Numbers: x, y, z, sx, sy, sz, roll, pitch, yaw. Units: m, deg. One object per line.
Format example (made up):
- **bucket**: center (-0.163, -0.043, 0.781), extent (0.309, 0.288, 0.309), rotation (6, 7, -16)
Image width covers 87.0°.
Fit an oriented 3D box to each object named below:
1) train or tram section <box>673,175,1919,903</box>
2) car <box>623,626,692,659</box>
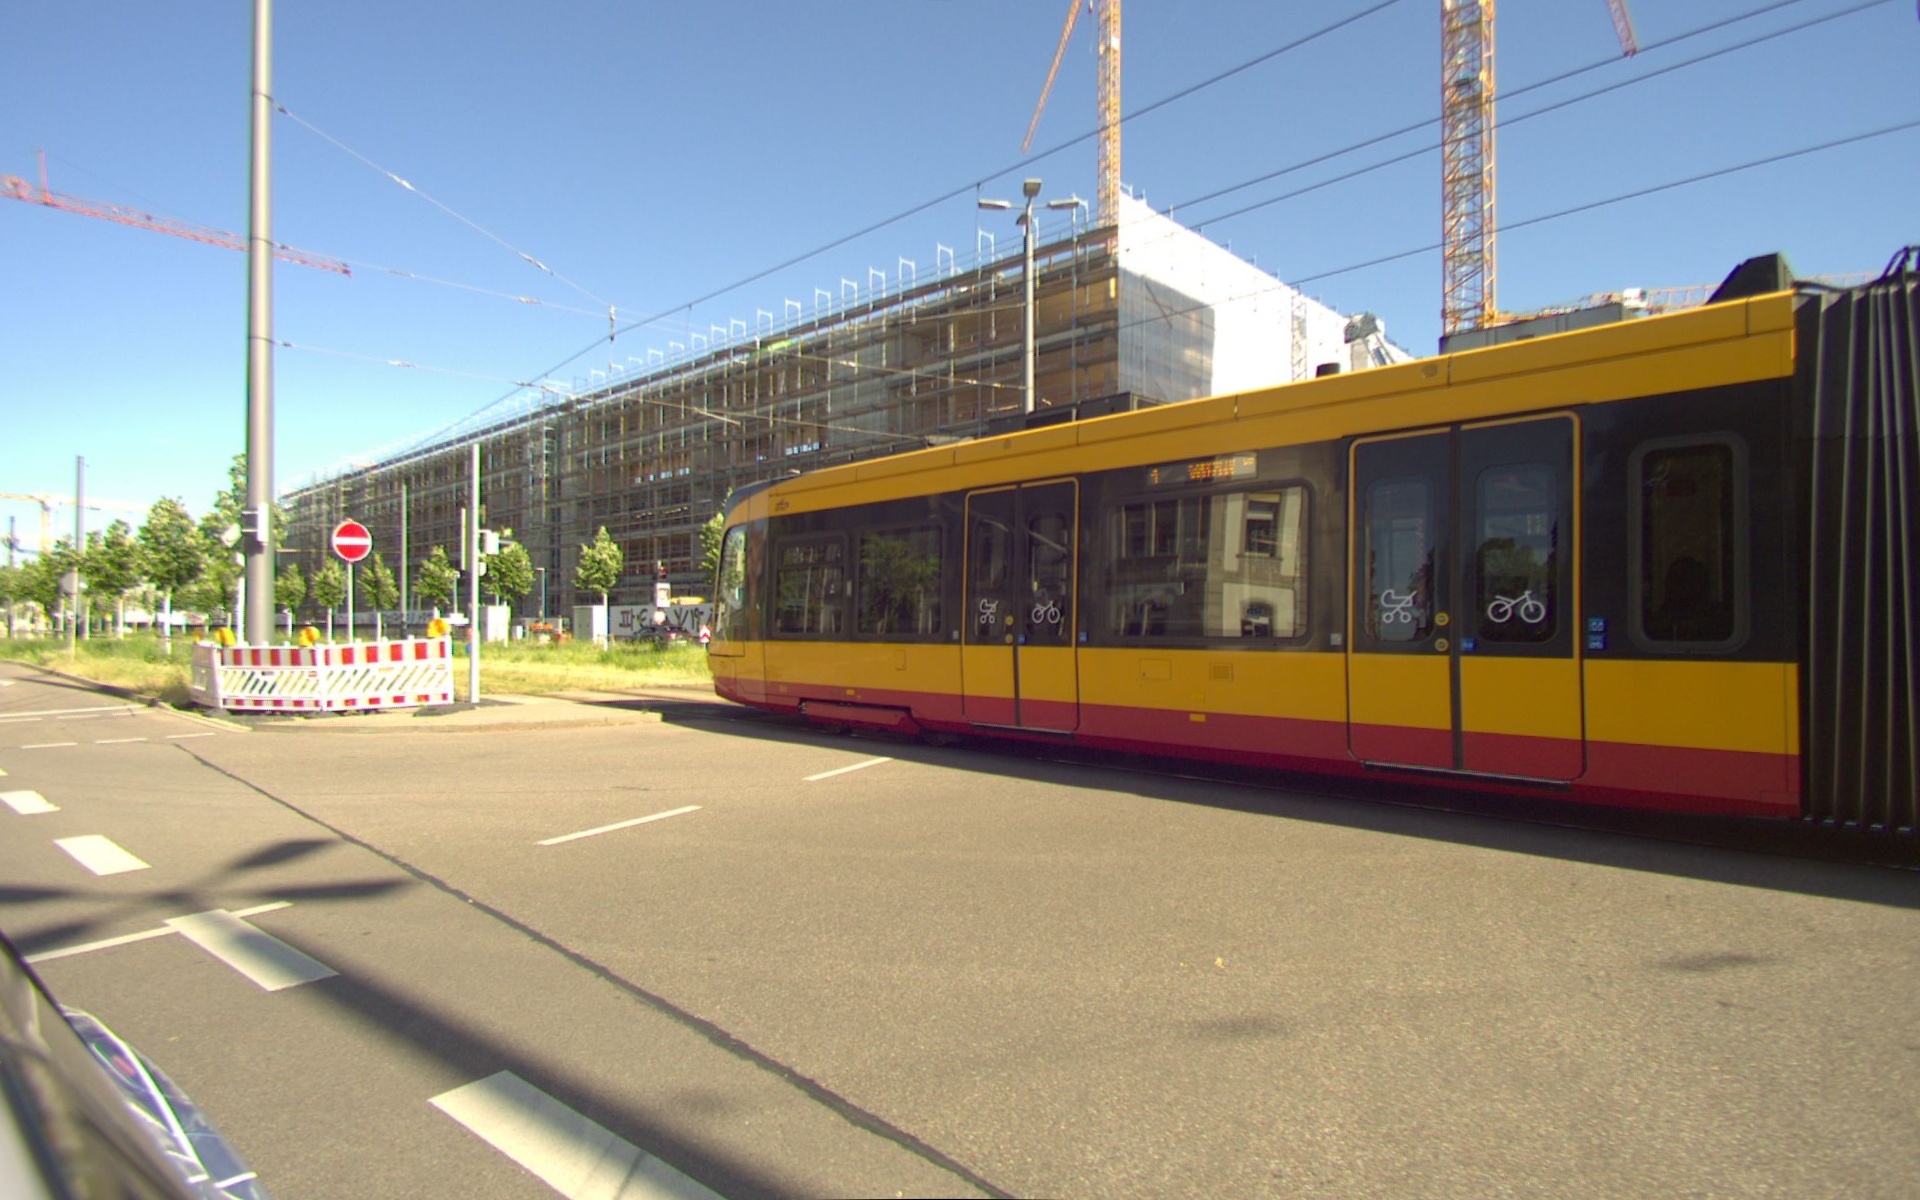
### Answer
- **train or tram section**: center (1.635, -0.236, 9.854), extent (1.970, 3.697, 14.161), rotation (0, -1, -44)
- **car**: center (-14.541, 2.026, 48.635), extent (3.479, 1.478, 1.577), rotation (-1, -1, 41)
